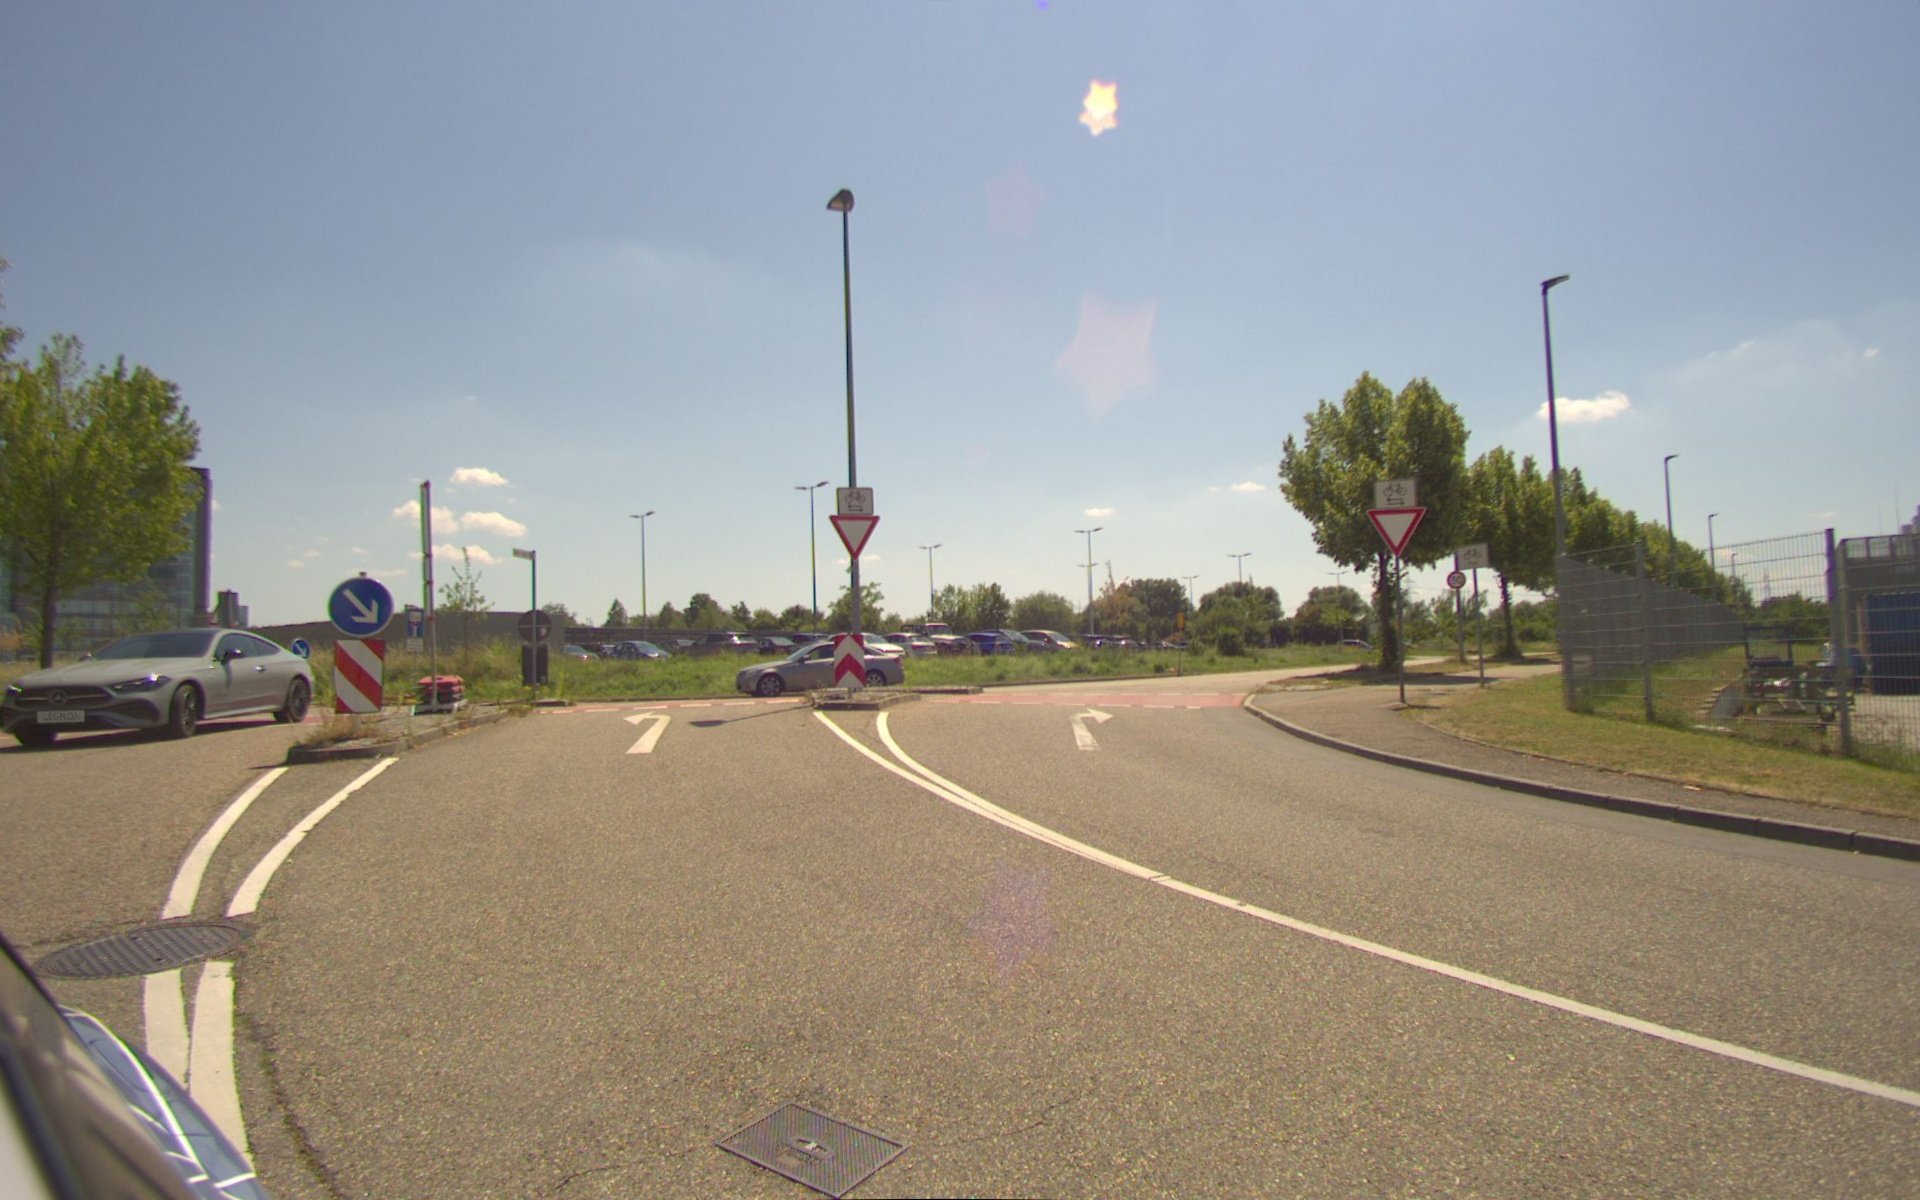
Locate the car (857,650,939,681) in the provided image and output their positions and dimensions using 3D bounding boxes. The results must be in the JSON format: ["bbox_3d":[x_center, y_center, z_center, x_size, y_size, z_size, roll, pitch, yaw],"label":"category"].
[{"bbox_3d":[-2.642,2.768,42.691,3.267,1.191,1.481,-5,-4,39],"label":"car"}]

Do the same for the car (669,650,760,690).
[{"bbox_3d":[-11.726,3.364,48.251,4.598,1.703,1.754,-5,-7,38],"label":"car"}]

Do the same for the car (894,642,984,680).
[{"bbox_3d":[-0.964,2.700,44.632,3.750,1.539,1.849,-5,-4,44],"label":"car"}]

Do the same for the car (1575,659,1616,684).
[{"bbox_3d":[47.179,5.282,75.132,1.869,1.647,4.537,-6,-6,40],"label":"car"}]

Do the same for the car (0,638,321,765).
[{"bbox_3d":[-10.857,1.342,13.832,1.868,1.394,4.640,-1,-4,-8],"label":"car"}]

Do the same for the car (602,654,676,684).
[{"bbox_3d":[-16.250,3.493,51.165,3.627,1.457,1.634,-3,-4,32],"label":"car"}]

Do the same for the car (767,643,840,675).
[{"bbox_3d":[-8.123,3.050,52.332,3.634,1.610,1.747,-3,-4,38],"label":"car"}]

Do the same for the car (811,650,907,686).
[{"bbox_3d":[-4.095,2.738,40.595,3.875,1.307,1.553,-5,-4,40],"label":"car"}]

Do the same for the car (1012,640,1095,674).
[{"bbox_3d":[4.611,2.829,50.203,3.843,1.636,1.597,-3,-4,37],"label":"car"}]

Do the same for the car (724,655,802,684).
[{"bbox_3d":[-9.739,3.406,49.918,3.843,1.373,1.631,-3,-4,38],"label":"car"}]

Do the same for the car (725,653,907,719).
[{"bbox_3d":[-3.798,2.259,26.690,4.419,1.385,1.679,-2,-6,-22],"label":"car"}]

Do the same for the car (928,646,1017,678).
[{"bbox_3d":[0.549,2.880,46.776,3.939,1.267,1.566,-5,-3,37],"label":"car"}]
